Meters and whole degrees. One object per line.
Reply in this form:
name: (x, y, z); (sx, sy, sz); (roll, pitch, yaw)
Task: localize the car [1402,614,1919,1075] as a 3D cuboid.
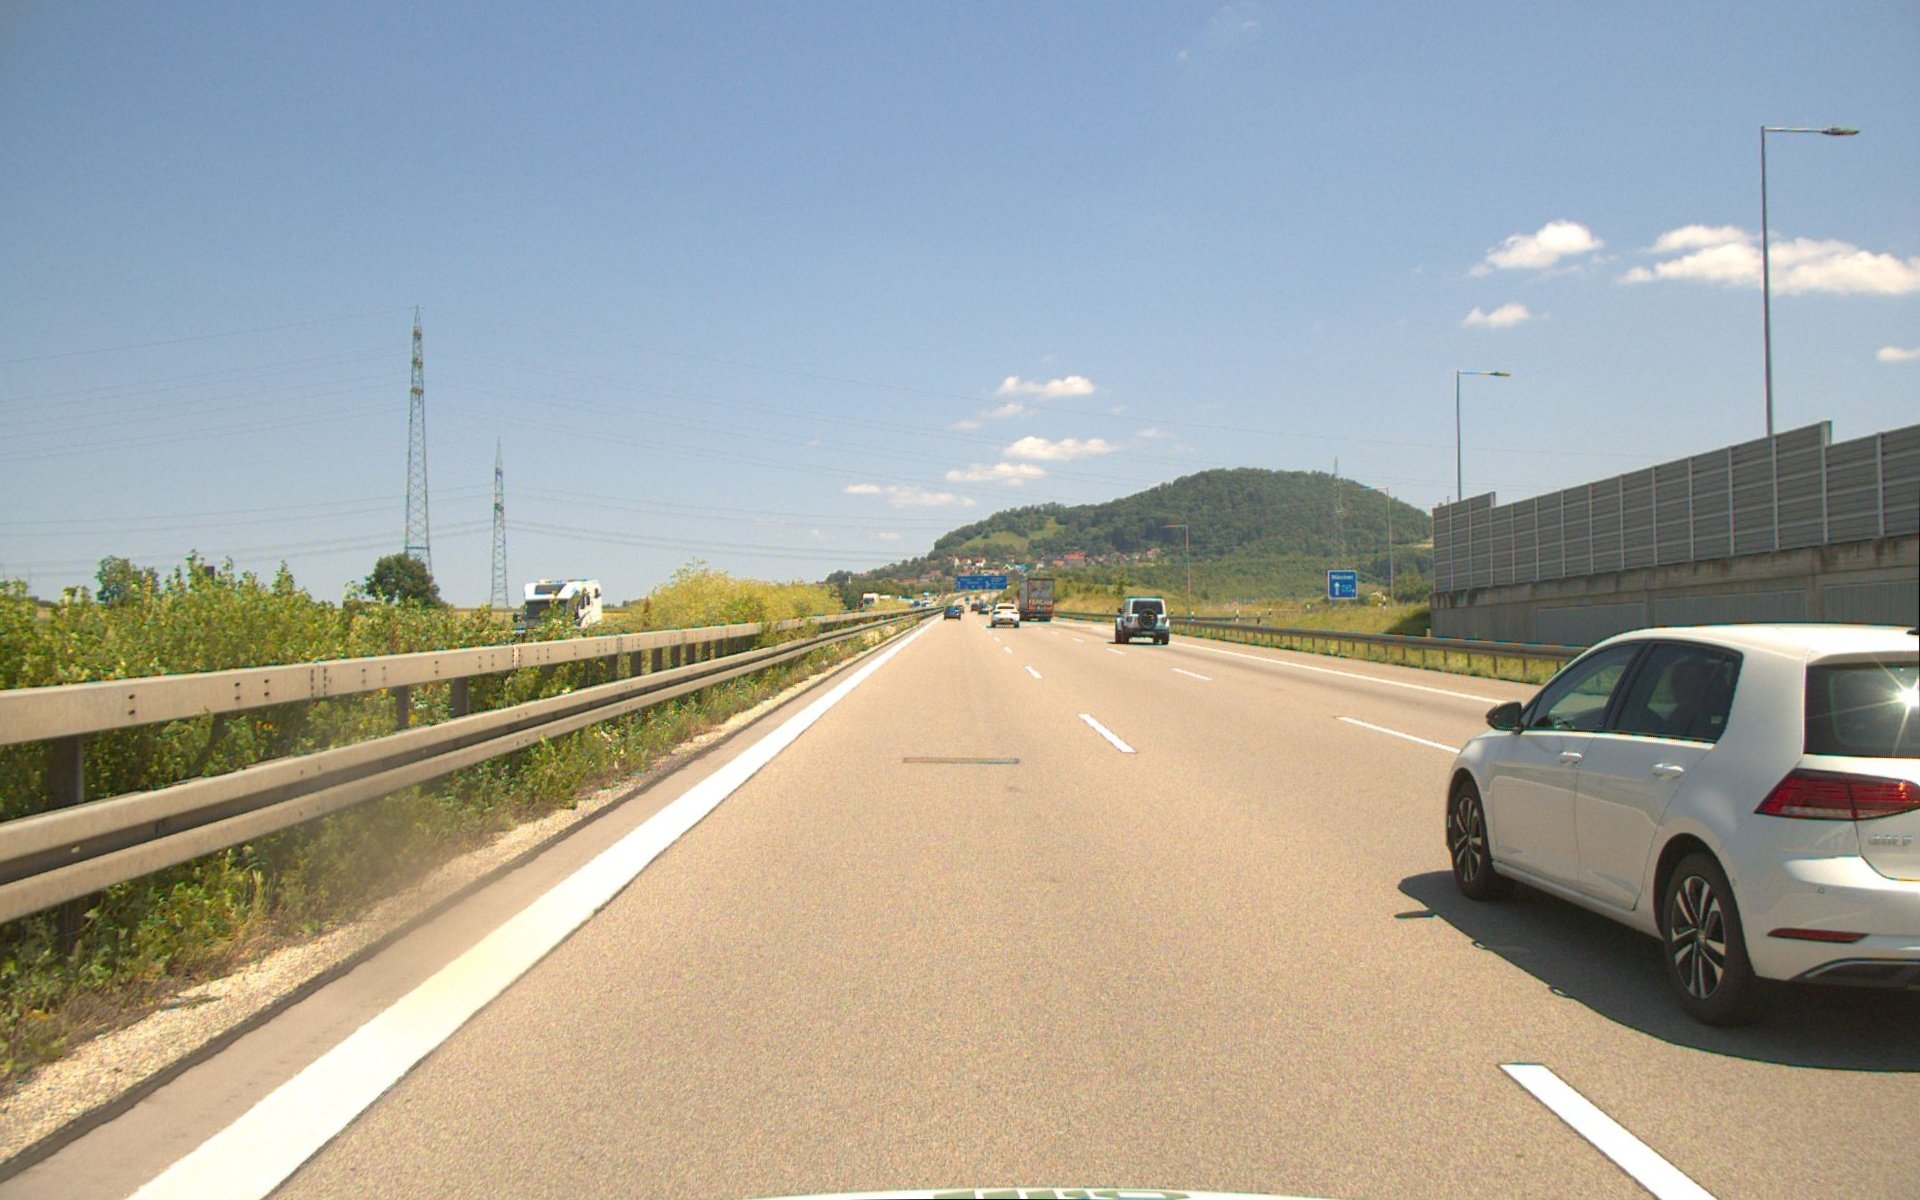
car: (3.566, 0.816, 7.619); (1.740, 1.458, 4.690); (1, -1, -1)

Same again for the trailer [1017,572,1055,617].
trailer: (7.410, -0.432, 162.802); (2.670, 4.228, 11.802); (1, -1, -2)

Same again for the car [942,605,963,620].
car: (-0.722, 1.233, 161.954); (1.952, 1.413, 4.000); (1, -1, 1)

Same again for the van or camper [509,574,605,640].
van or camper: (-16.815, 0.364, 69.478); (2.484, 2.580, 6.707); (0, -2, -1)

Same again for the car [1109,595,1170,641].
car: (7.426, 0.740, 68.596); (1.993, 1.836, 4.249); (1, -1, -1)

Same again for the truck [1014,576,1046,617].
truck: (7.165, -0.319, 169.252); (2.697, 4.091, 6.785); (1, -1, -2)

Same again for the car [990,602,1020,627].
car: (3.047, 0.977, 112.340); (1.875, 1.608, 5.230); (1, -1, 0)

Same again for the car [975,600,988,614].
car: (3.279, 1.111, 250.704); (1.952, 2.049, 4.000); (1, -1, 1)
